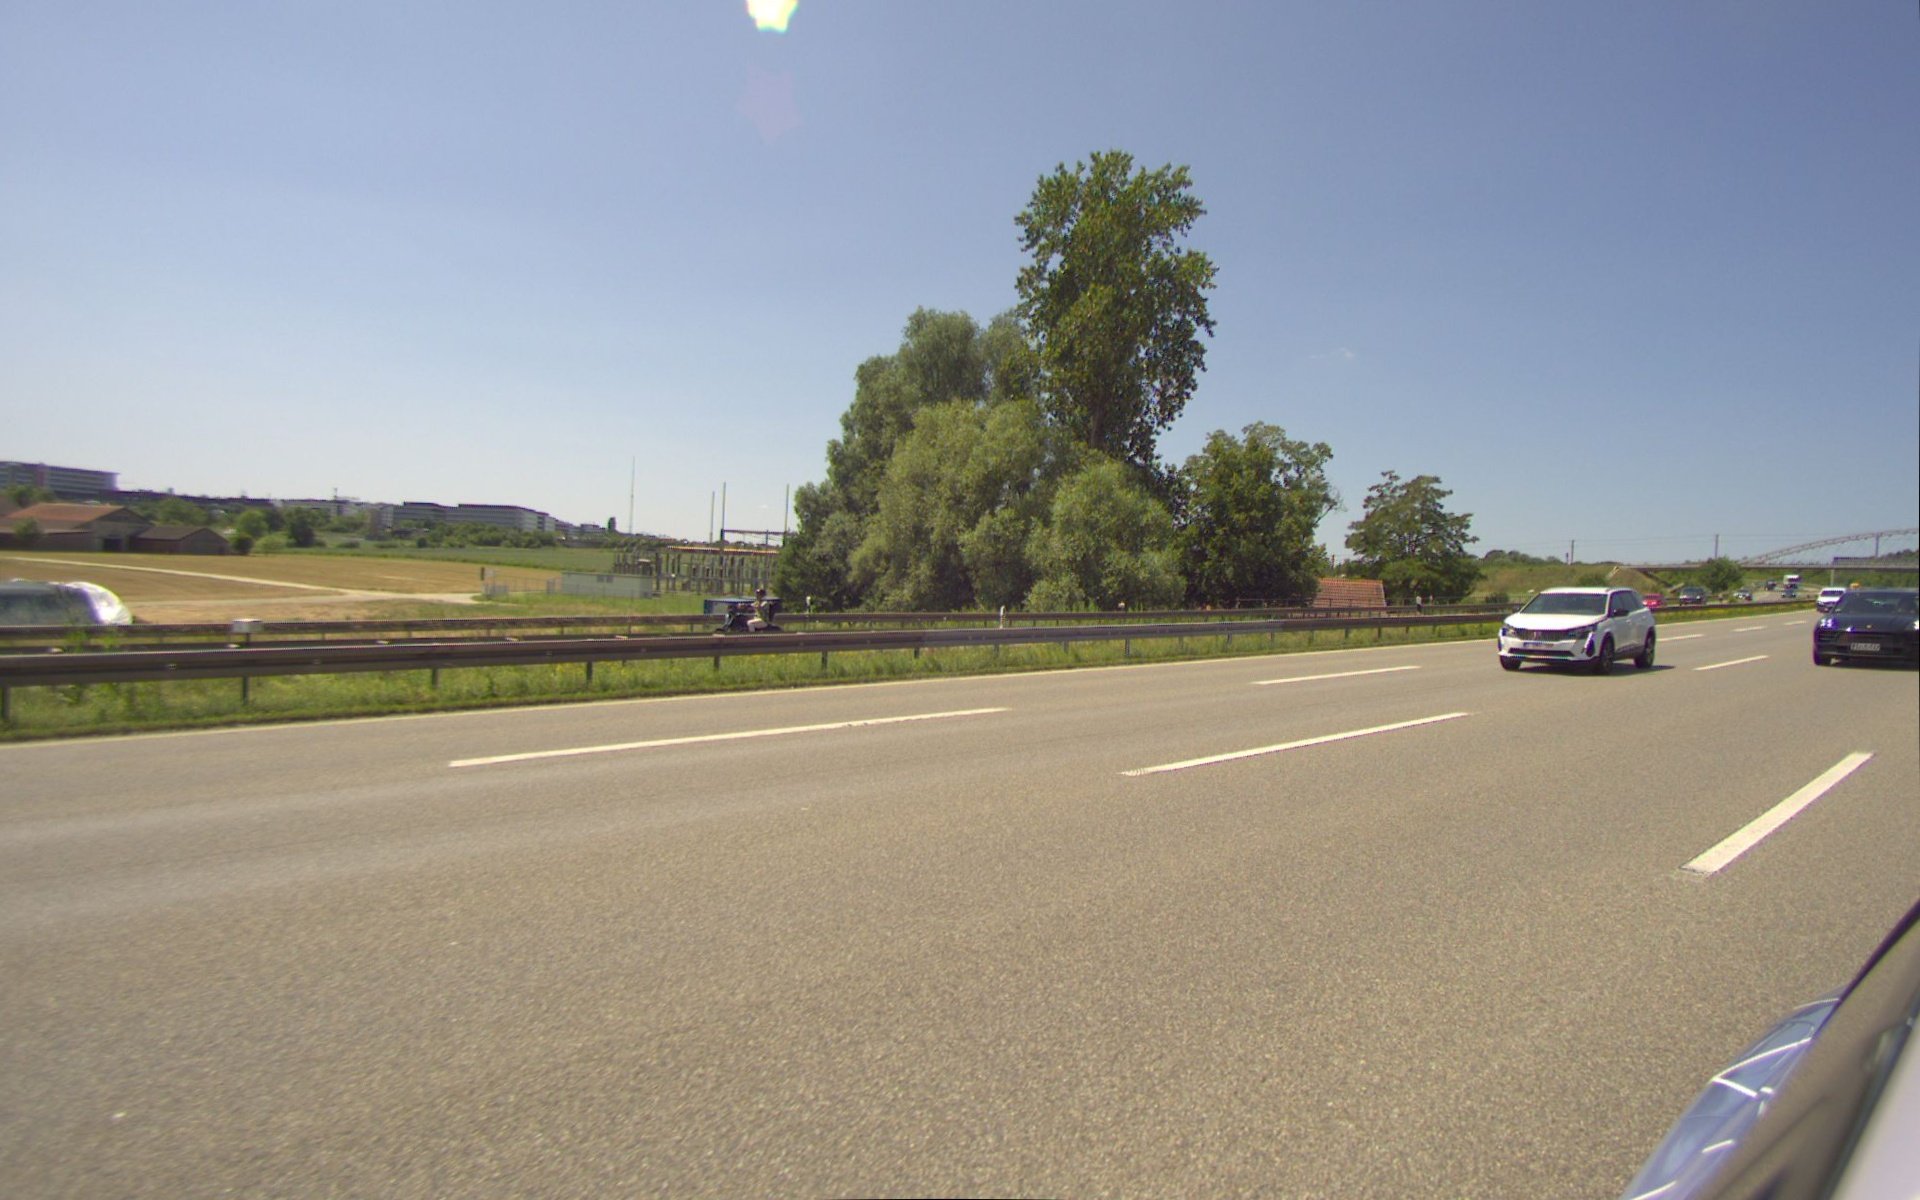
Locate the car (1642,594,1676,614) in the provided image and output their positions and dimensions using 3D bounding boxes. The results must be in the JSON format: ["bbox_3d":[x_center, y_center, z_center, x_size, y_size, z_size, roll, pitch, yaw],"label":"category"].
[{"bbox_3d":[60.074,0.335,86.990,4.061,1.594,1.700,-1,1,-45],"label":"car"}]

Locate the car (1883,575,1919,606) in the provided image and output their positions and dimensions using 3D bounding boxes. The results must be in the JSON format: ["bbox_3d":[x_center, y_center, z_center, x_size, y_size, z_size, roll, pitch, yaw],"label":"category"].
[{"bbox_3d":[61.319,-0.628,65.818,1.804,1.943,4.227,1,1,44],"label":"car"}]

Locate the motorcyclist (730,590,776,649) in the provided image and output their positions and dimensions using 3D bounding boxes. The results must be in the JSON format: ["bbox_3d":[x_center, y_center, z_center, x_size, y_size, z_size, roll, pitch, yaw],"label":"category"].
[{"bbox_3d":[-5.007,0.451,24.477,0.862,1.383,0.670,-1,1,-38],"label":"motorcyclist"}]

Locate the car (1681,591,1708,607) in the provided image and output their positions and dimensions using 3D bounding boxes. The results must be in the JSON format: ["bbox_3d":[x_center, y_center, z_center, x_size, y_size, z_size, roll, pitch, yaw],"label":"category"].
[{"bbox_3d":[78.120,-0.164,107.570,4.061,1.594,1.700,-1,1,-45],"label":"car"}]

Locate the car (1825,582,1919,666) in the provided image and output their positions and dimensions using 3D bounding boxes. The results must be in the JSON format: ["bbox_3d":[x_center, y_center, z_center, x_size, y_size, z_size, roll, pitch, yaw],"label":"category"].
[{"bbox_3d":[20.048,0.445,21.605,4.062,1.615,1.929,-1,1,-42],"label":"car"}]

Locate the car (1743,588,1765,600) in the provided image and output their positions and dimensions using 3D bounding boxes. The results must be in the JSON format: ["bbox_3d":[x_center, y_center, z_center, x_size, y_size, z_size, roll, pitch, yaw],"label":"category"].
[{"bbox_3d":[107.746,-0.815,137.271,4.058,1.594,1.702,-1,1,-43],"label":"car"}]

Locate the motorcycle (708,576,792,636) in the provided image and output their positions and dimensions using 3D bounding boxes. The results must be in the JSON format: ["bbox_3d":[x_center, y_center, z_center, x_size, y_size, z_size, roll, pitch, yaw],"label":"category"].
[{"bbox_3d":[-5.052,0.115,24.421,1.836,1.383,0.762,-1,1,-39],"label":"motorcycle"}]

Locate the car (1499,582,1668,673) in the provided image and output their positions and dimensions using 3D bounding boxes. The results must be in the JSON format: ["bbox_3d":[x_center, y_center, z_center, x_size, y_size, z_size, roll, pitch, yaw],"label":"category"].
[{"bbox_3d":[12.569,0.456,20.279,4.542,1.611,1.746,-1,1,-43],"label":"car"}]
